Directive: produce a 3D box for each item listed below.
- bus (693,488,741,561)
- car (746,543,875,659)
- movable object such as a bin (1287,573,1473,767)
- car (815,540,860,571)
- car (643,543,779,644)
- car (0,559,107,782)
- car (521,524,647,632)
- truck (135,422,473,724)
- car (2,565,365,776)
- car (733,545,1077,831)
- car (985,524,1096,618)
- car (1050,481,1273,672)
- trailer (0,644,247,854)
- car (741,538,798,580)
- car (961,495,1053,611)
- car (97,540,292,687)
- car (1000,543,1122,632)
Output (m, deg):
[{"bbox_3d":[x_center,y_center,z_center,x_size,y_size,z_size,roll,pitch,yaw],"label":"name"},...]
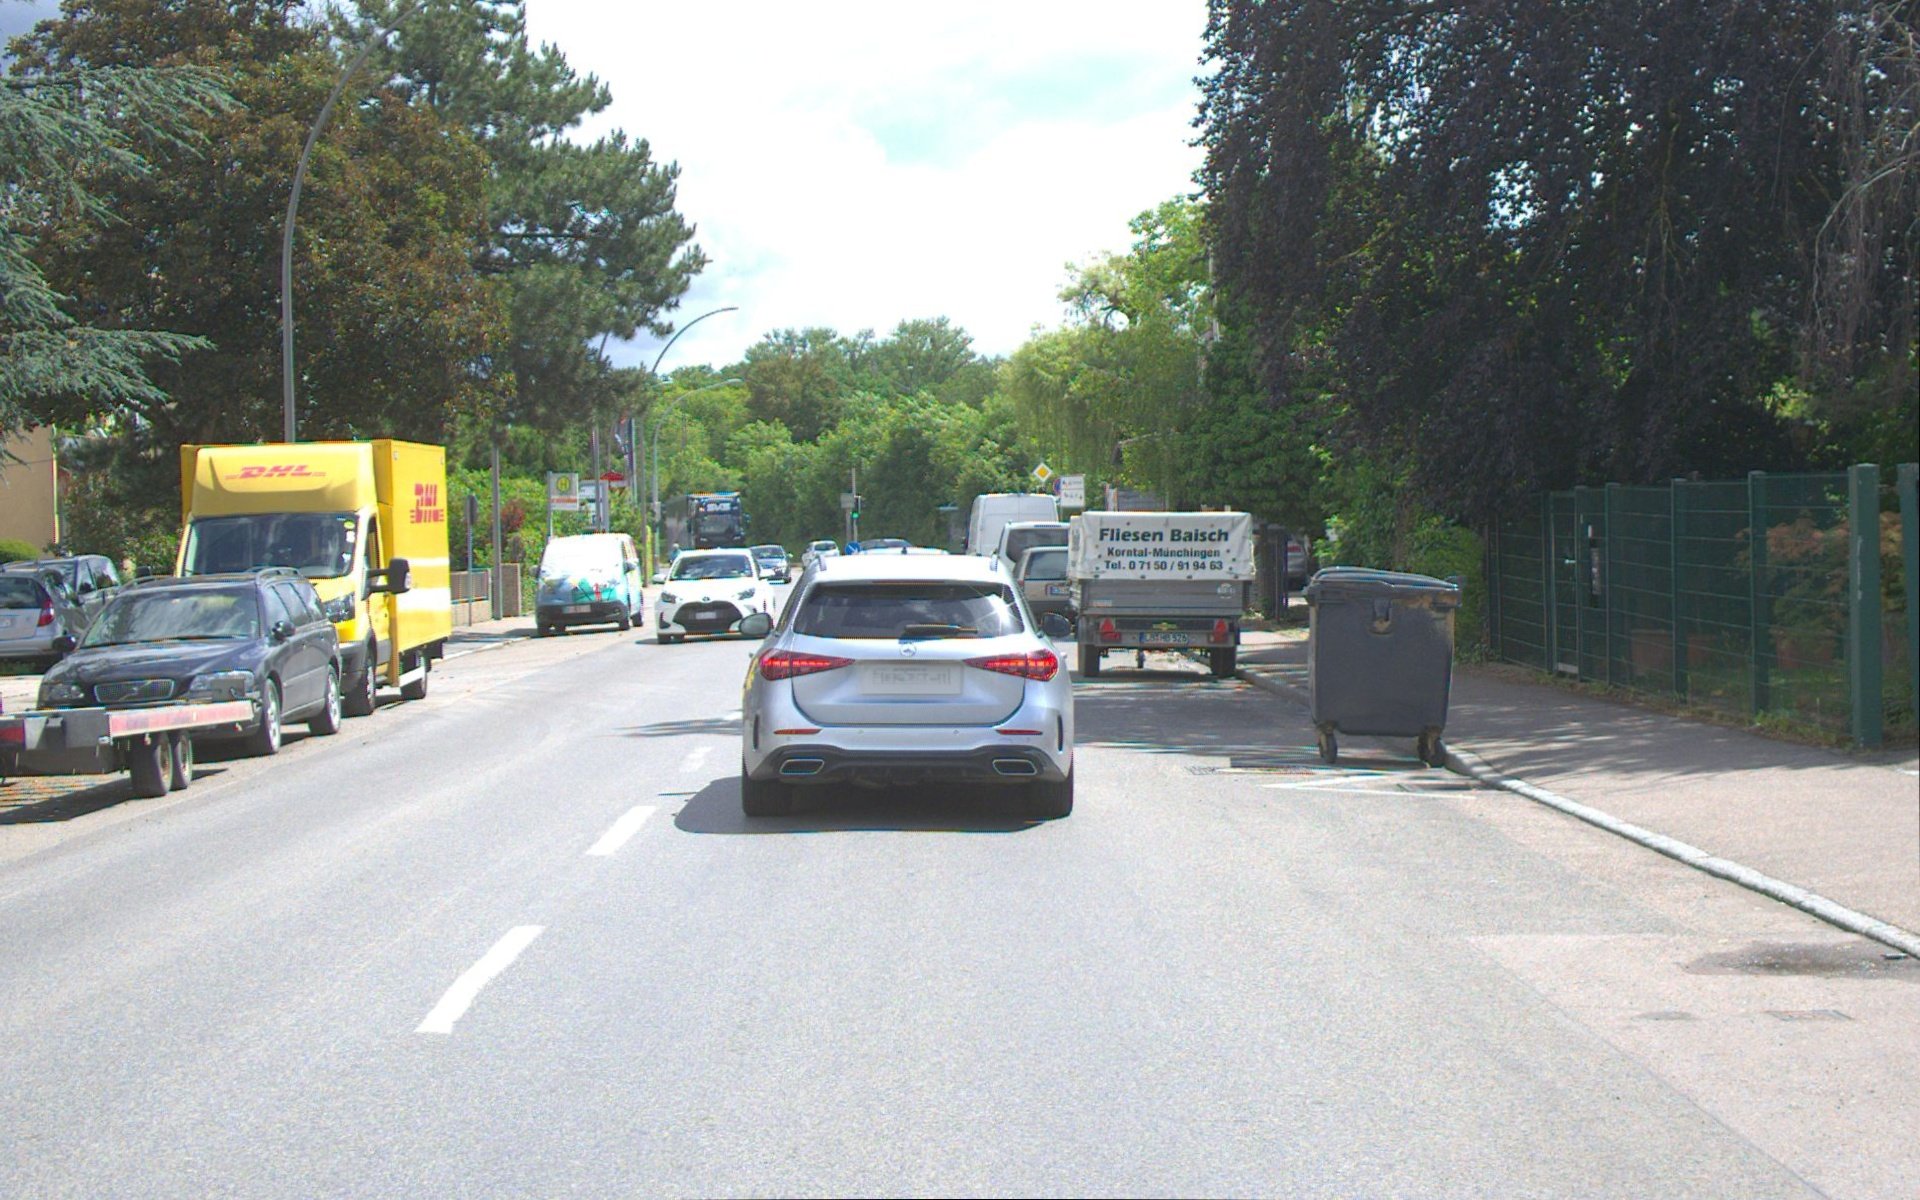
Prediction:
[{"bbox_3d":[-11.567,-3.602,163.519,1.993,3.353,6.984,1,1,-6],"label":"bus"},{"bbox_3d":[-2.116,-0.015,49.408,1.755,1.553,4.001,-1,1,-2],"label":"car"},{"bbox_3d":[2.875,0.463,23.695,1.084,1.266,1.380,1,1,0],"label":"movable object such as a bin"},{"bbox_3d":[-6.320,-2.312,176.836,1.755,1.553,4.001,-1,1,-10],"label":"car"},{"bbox_3d":[-4.026,-0.145,56.189,1.934,1.487,4.364,-2,1,-1],"label":"car"},{"bbox_3d":[-9.886,0.626,33.915,1.993,2.007,4.000,1,1,-1],"label":"car"},{"bbox_3d":[-7.128,-0.450,65.555,1.934,1.912,4.364,-2,1,-1],"label":"car"},{"bbox_3d":[-6.745,-0.345,36.277,2.075,2.804,7.078,-2,1,0],"label":"truck"},{"bbox_3d":[-6.291,0.513,28.383,2.075,1.473,4.457,-2,1,-2],"label":"car"},{"bbox_3d":[-0.383,0.435,19.971,1.784,1.479,4.317,0,0,-3],"label":"car"},{"bbox_3d":[1.481,-0.548,64.605,1.784,1.709,4.317,0,0,-3],"label":"car"},{"bbox_3d":[2.218,-0.304,39.219,2.144,1.977,5.261,-1,1,0],"label":"car"},{"bbox_3d":[-6.103,0.855,21.536,2.228,0.921,5.949,-1,1,-2],"label":"trailer"},{"bbox_3d":[-7.206,-1.576,130.276,1.934,1.487,4.364,-2,1,-1],"label":"car"},{"bbox_3d":[1.021,-1.038,76.798,1.784,2.510,4.317,0,0,-3],"label":"car"},{"bbox_3d":[-11.129,0.160,50.237,1.993,2.007,4.000,1,1,-1],"label":"car"},{"bbox_3d":[1.706,-0.222,59.307,1.784,1.479,4.317,0,0,-3],"label":"car"}]
